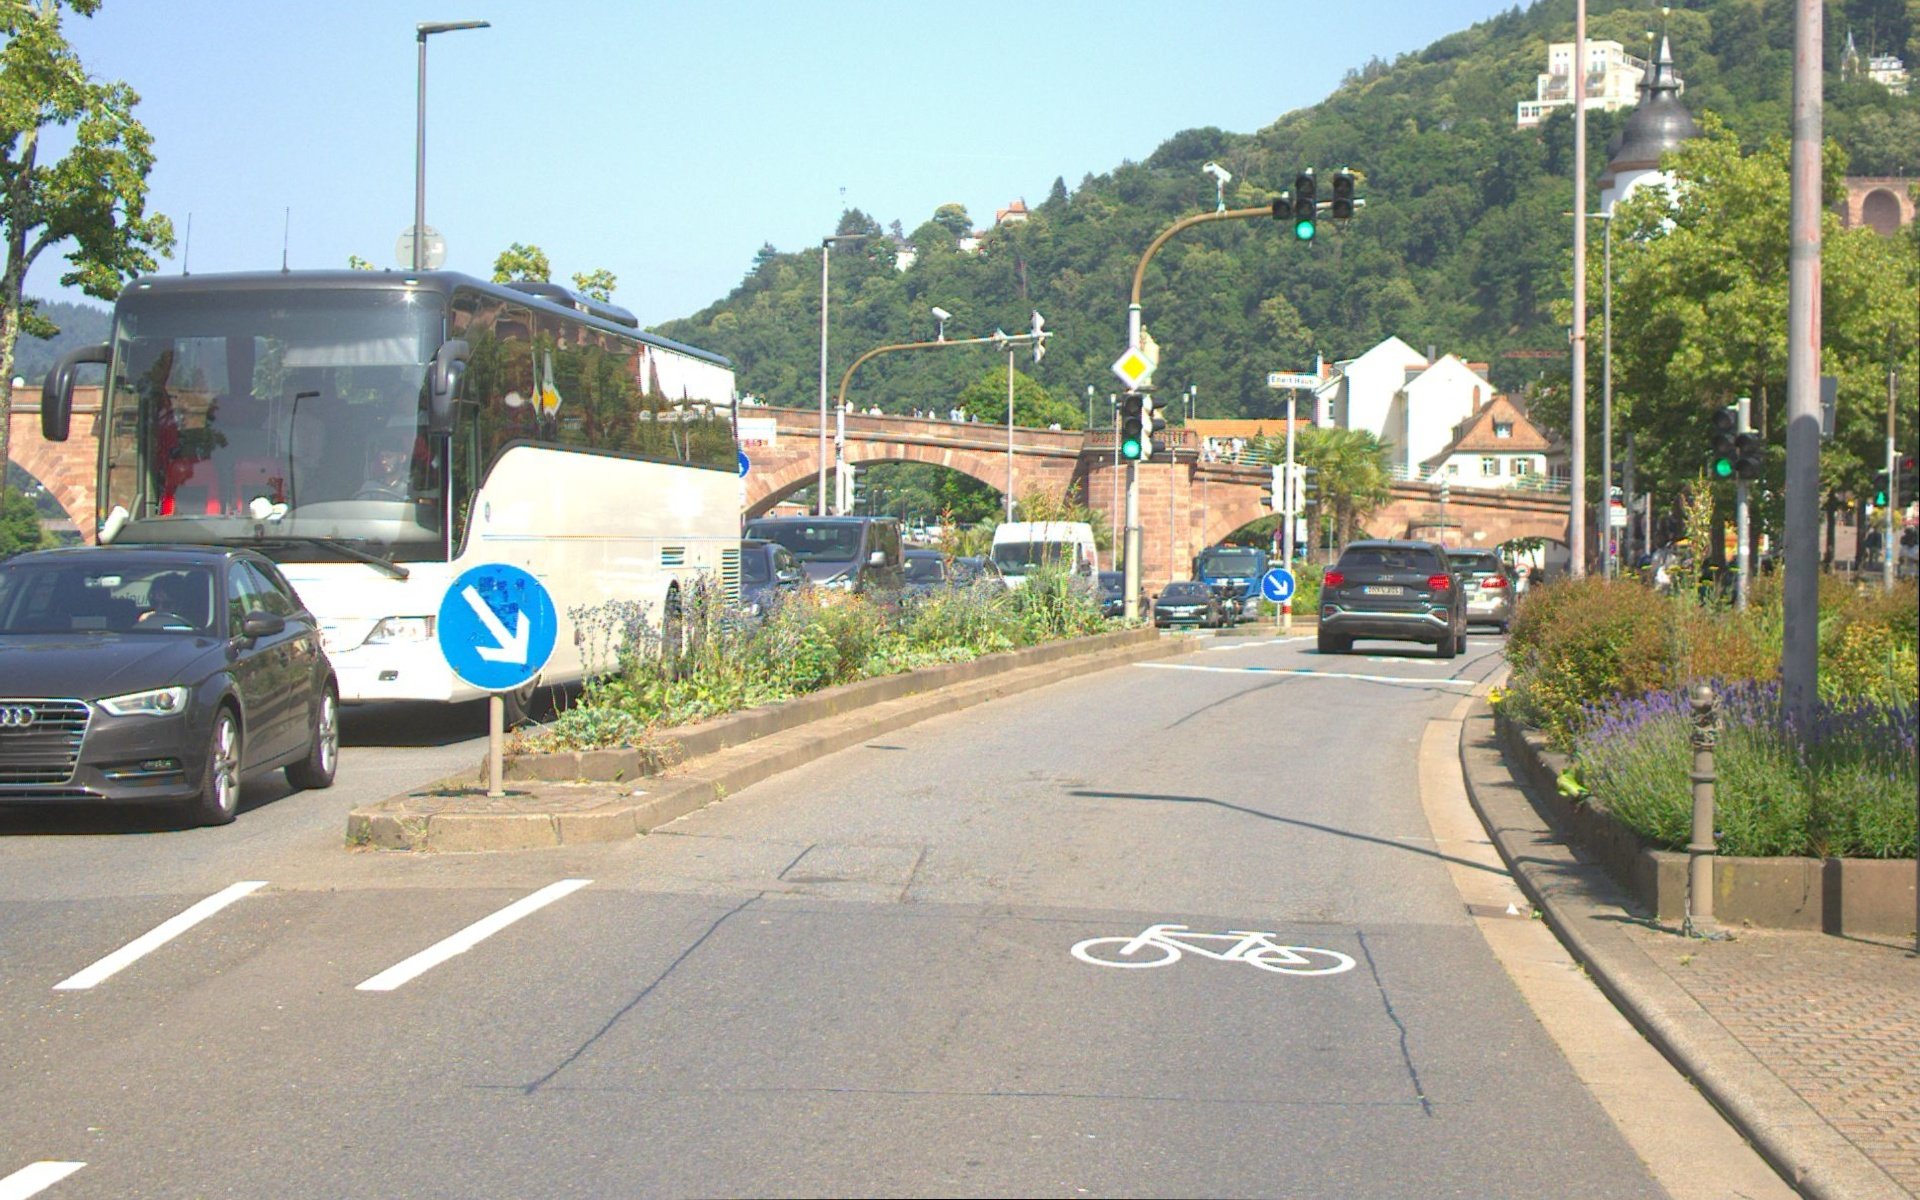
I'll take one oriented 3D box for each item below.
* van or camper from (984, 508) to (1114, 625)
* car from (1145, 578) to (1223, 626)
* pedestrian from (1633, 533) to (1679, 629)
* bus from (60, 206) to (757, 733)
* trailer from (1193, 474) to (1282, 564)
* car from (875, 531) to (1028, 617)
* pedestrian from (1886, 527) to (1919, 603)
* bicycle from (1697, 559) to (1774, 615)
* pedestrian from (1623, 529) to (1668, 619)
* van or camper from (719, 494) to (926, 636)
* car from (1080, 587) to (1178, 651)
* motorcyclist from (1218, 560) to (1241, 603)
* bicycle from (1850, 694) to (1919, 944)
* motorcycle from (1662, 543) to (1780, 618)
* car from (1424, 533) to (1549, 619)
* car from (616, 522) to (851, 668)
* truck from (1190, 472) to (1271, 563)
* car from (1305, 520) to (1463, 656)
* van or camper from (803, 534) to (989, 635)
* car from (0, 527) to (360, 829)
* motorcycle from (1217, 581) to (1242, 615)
[{"bbox_3d":[1.988,-0.691,75.133,1.994,2.441,5.492,-1,0,10],"label":"van or camper"},{"bbox_3d":[7.001,0.082,107.240,1.953,1.408,4.217,-1,-1,10],"label":"car"},{"bbox_3d":[12.976,-0.360,64.080,0.693,1.765,0.764,-1,1,2],"label":"pedestrian"},{"bbox_3d":[-4.137,-0.908,29.788,2.631,3.552,12.980,1,0,6],"label":"bus"},{"bbox_3d":[10.945,-3.129,134.776,2.659,3.392,8.823,1,1,10],"label":"trailer"},{"bbox_3d":[-0.108,-0.466,60.460,1.953,1.404,4.568,-2,0,9],"label":"car"},{"bbox_3d":[20.676,-0.765,75.240,0.708,1.647,0.706,1,1,10],"label":"pedestrian"},{"bbox_3d":[15.717,-0.258,69.699,1.484,1.116,0.378,0,0,5],"label":"bicycle"},{"bbox_3d":[12.918,-0.498,64.814,0.693,1.671,0.764,-1,1,2],"label":"pedestrian"},{"bbox_3d":[-1.852,-0.489,48.045,1.994,1.867,5.178,0,1,8],"label":"van or camper"},{"bbox_3d":[4.125,0.433,83.080,1.819,1.451,4.927,-1,0,9],"label":"car"},{"bbox_3d":[9.342,-0.630,119.026,0.736,1.465,1.011,1,1,7],"label":"motorcyclist"},{"bbox_3d":[4.287,0.842,12.733,1.809,0.875,0.502,3,1,-2],"label":"bicycle"},{"bbox_3d":[15.058,-0.384,68.060,0.762,1.460,2.298,0,0,-39],"label":"motorcycle"},{"bbox_3d":[9.421,-0.459,61.809,1.927,1.456,4.831,1,1,6],"label":"car"},{"bbox_3d":[-2.661,-0.084,41.647,1.994,1.593,5.156,-2,1,5],"label":"car"},{"bbox_3d":[10.359,-3.137,131.318,2.659,3.392,4.448,1,1,10],"label":"truck"},{"bbox_3d":[5.659,-0.209,45.720,1.927,1.547,4.831,2,3,8],"label":"car"},{"bbox_3d":[-0.927,-0.231,53.241,1.994,1.472,5.063,0,0,9],"label":"van or camper"},{"bbox_3d":[-4.505,0.327,18.308,1.816,1.424,4.193,0,1,1],"label":"car"},{"bbox_3d":[9.335,-0.076,119.038,0.757,1.128,2.455,1,1,7],"label":"motorcycle"}]
